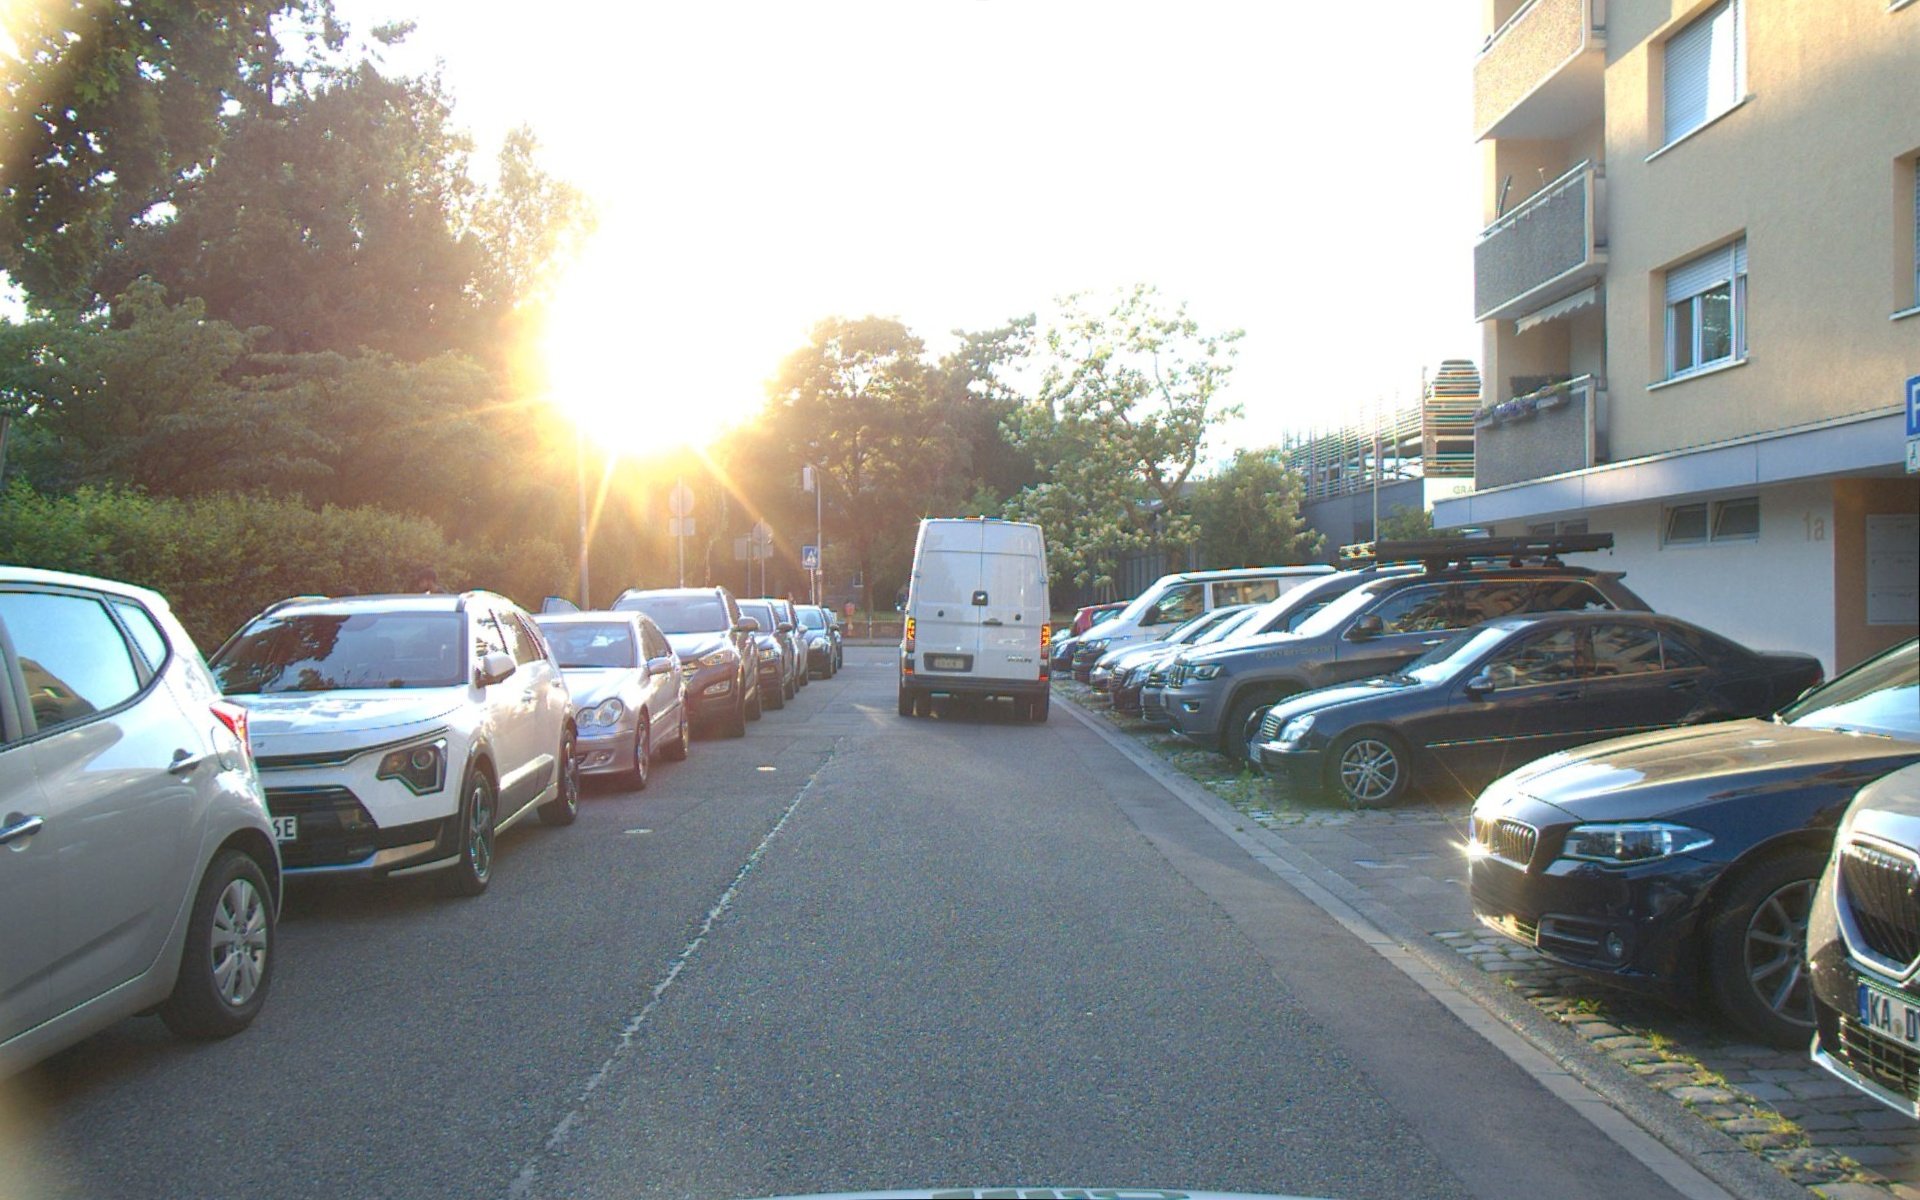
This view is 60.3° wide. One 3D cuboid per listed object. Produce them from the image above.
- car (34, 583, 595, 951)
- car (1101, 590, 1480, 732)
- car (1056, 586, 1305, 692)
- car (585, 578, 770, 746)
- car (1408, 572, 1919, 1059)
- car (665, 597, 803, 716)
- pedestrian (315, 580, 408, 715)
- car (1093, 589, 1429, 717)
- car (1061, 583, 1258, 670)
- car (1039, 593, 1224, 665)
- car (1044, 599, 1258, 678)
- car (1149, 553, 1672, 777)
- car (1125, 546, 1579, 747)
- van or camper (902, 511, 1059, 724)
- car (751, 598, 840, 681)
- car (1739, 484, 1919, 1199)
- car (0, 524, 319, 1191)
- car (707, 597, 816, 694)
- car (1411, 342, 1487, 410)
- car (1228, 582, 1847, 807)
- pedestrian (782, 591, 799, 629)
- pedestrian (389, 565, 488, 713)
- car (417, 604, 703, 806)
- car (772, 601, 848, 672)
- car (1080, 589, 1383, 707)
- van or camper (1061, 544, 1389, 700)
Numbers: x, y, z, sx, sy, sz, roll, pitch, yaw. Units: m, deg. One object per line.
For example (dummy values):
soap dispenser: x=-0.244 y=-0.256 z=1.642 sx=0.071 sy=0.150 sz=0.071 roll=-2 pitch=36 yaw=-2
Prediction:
car: x=-3.312 y=0.726 z=9.439 sx=1.724 sy=1.570 sz=4.277 roll=-1 pitch=0 yaw=-4
car: x=4.028 y=0.755 z=20.651 sx=4.314 sy=1.590 sz=1.845 roll=-1 pitch=-2 yaw=-2
car: x=4.022 y=0.730 z=30.601 sx=4.240 sy=1.690 sz=1.780 roll=-3 pitch=-2 yaw=-3
car: x=-3.277 y=0.655 z=19.915 sx=1.699 sy=1.760 sz=4.320 roll=-1 pitch=0 yaw=-4
car: x=4.226 y=0.704 z=6.583 sx=4.318 sy=1.581 sz=1.843 roll=-1 pitch=-2 yaw=-6
car: x=-3.293 y=0.768 z=24.761 sx=1.699 sy=1.594 sz=4.164 roll=-1 pitch=0 yaw=-4
pedestrian: x=-7.127 y=0.558 z=19.730 sx=0.733 sy=1.534 sz=0.901 roll=3 pitch=0 yaw=-3
car: x=4.111 y=0.737 z=23.095 sx=4.314 sy=1.621 sz=1.845 roll=-1 pitch=-2 yaw=-2
car: x=4.598 y=0.602 z=38.549 sx=4.313 sy=1.659 sz=1.846 roll=-4 pitch=0 yaw=1
car: x=4.209 y=0.738 z=41.098 sx=4.316 sy=1.660 sz=1.844 roll=-1 pitch=-2 yaw=-3
car: x=4.085 y=0.838 z=35.835 sx=4.316 sy=1.558 sz=1.844 roll=-1 pitch=-2 yaw=-3
car: x=4.143 y=0.577 z=15.708 sx=4.421 sy=1.895 sz=1.845 roll=-1 pitch=0 yaw=-2
car: x=4.230 y=0.513 z=18.358 sx=4.543 sy=2.016 sz=1.845 roll=-1 pitch=-2 yaw=-2
van or camper: x=0.214 y=0.220 z=24.118 sx=1.953 sy=2.664 sz=6.401 roll=1 pitch=0 yaw=-1
car: x=-3.409 y=0.787 z=34.750 sx=1.699 sy=1.594 sz=3.694 roll=-1 pitch=0 yaw=-4
car: x=4.468 y=0.568 z=4.004 sx=4.318 sy=1.779 sz=1.843 roll=-1 pitch=-1 yaw=-6
car: x=-3.252 y=0.657 z=4.175 sx=1.698 sy=1.660 sz=3.980 roll=-1 pitch=0 yaw=0
car: x=-3.552 y=0.767 z=30.171 sx=1.699 sy=1.594 sz=4.126 roll=-1 pitch=0 yaw=-4
car: x=18.668 y=-8.528 z=63.318 sx=1.951 sy=2.049 sz=4.002 roll=1 pitch=0 yaw=4
car: x=4.470 y=0.737 z=13.323 sx=4.312 sy=1.581 sz=1.846 roll=-1 pitch=-2 yaw=1
pedestrian: x=-7.469 y=0.432 z=72.716 sx=0.633 sy=1.677 sz=0.674 roll=2 pitch=0 yaw=-1
pedestrian: x=-6.456 y=0.478 z=20.472 sx=0.886 sy=1.762 sz=0.745 roll=3 pitch=-1 yaw=43
car: x=-3.346 y=0.792 z=14.605 sx=1.699 sy=1.452 sz=4.284 roll=-1 pitch=0 yaw=-4
car: x=-3.610 y=0.846 z=40.297 sx=1.699 sy=1.594 sz=3.788 roll=-1 pitch=0 yaw=-4
car: x=4.115 y=0.743 z=25.548 sx=4.314 sy=1.660 sz=1.845 roll=-1 pitch=-2 yaw=-2
van or camper: x=4.368 y=0.356 z=27.781 sx=5.031 sy=2.205 sz=2.039 roll=-4 pitch=-1 yaw=-3
